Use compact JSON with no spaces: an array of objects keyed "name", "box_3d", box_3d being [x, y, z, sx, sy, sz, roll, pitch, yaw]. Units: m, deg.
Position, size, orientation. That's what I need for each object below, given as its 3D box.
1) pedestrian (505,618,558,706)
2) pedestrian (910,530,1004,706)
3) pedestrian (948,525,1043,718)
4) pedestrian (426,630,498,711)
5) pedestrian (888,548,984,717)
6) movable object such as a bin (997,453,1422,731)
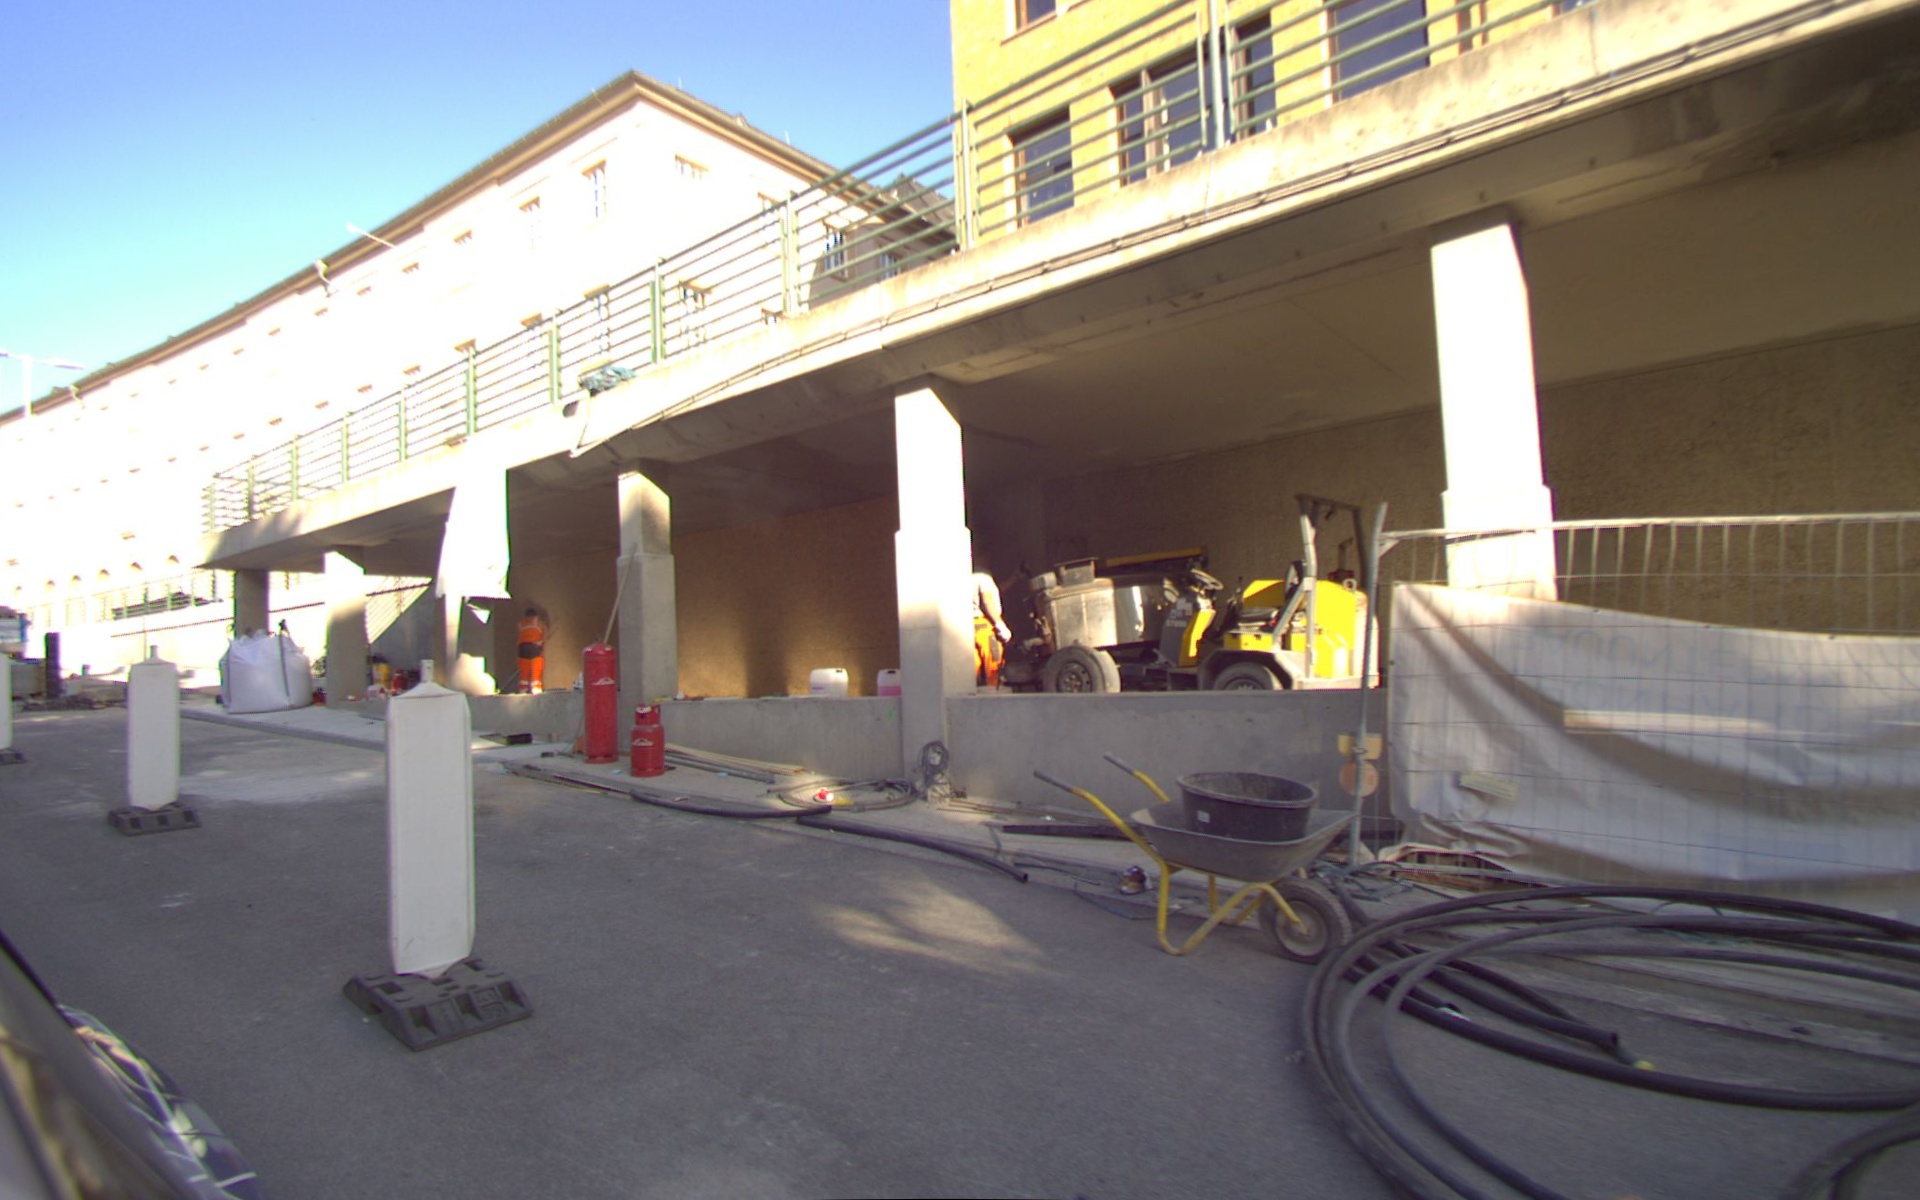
[{"name":"pedestrian","box_3d":[-7.936,1.142,18.758,0.628,1.592,0.644,-1,-2,30]},{"name":"pedestrian","box_3d":[-0.029,0.192,11.017,0.708,1.828,0.697,-2,-1,37]},{"name":"pedestrian","box_3d":[0.349,0.208,10.015,0.649,1.818,0.625,0,-1,-43]},{"name":"pedestrian","box_3d":[-8.971,1.253,18.252,0.780,1.409,0.865,-1,-2,30]},{"name":"pedestrian","box_3d":[-0.291,0.386,12.404,0.936,1.971,0.670,-2,-1,39]},{"name":"movable object such as a bin","box_3d":[2.167,-0.002,8.987,3.154,2.002,1.868,-2,-2,38]}]
